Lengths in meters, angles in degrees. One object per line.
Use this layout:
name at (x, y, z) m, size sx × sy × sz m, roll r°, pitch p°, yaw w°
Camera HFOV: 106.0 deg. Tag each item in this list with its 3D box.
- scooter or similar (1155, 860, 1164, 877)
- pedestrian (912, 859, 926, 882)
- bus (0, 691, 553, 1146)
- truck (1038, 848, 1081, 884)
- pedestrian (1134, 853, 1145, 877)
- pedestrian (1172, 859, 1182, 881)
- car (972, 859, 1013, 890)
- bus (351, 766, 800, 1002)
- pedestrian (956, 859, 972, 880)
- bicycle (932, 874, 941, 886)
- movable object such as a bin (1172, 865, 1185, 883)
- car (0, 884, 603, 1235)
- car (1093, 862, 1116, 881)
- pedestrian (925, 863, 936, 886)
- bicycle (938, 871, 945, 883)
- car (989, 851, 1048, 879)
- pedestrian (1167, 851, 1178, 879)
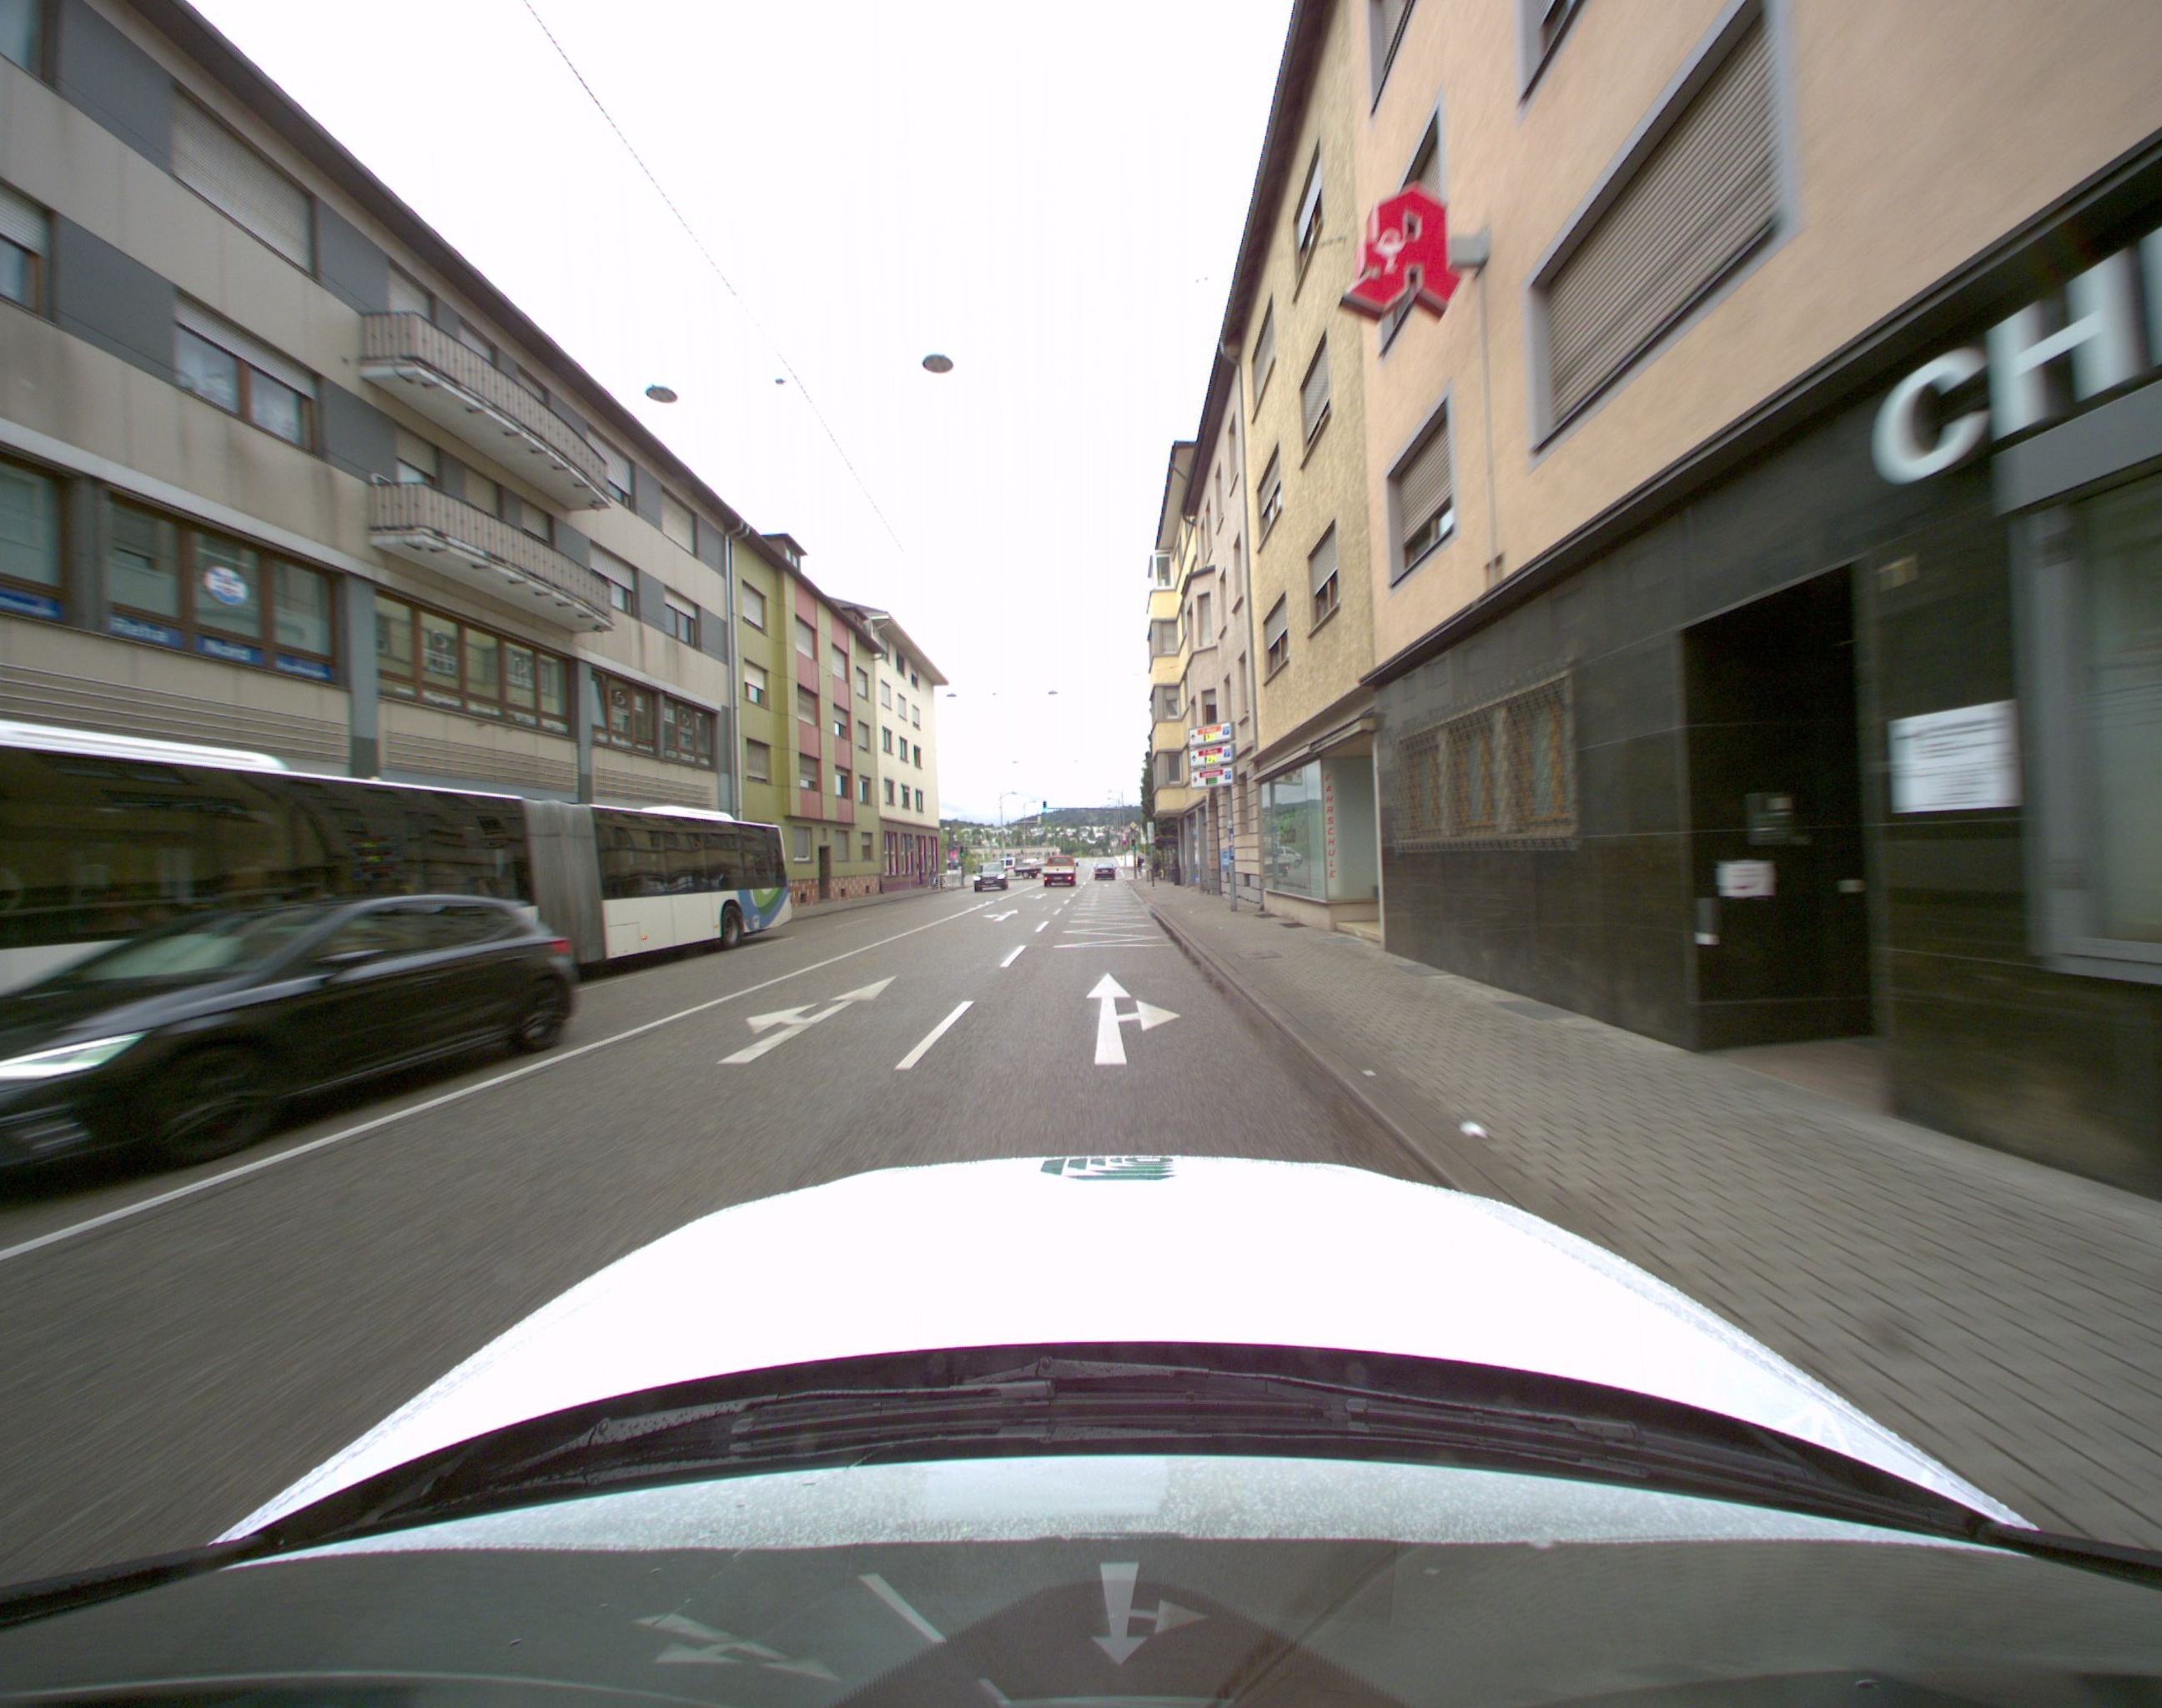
scooter or similar at (5.393, 0.987, 55.902) m, size 0.509 × 1.172 × 1.549 m, roll -2°, pitch -1°, yaw 2°
pedestrian at (-11.371, 1.152, 57.222) m, size 0.771 × 1.577 × 0.589 m, roll -2°, pitch -1°, yaw 1°
bus at (-8.928, 0.510, 6.936) m, size 2.748 × 3.188 × 8.914 m, roll -2°, pitch -1°, yaw 1°
truck at (-1.324, 0.772, 52.462) m, size 2.391 × 2.129 × 5.316 m, roll -2°, pitch -1°, yaw 1°
pedestrian at (4.527, 0.851, 63.319) m, size 0.730 × 1.841 × 0.631 m, roll -2°, pitch -1°, yaw 0°
pedestrian at (6.145, 1.016, 52.184) m, size 0.562 × 1.396 × 0.514 m, roll -2°, pitch -1°, yaw -2°
car at (-5.333, 1.212, 49.597) m, size 1.925 × 1.757 × 4.572 m, roll -2°, pitch -1°, yaw 0°
bus at (-8.680, 0.459, 16.027) m, size 2.715 × 3.188 × 9.295 m, roll -2°, pitch -1°, yaw 1°
pedestrian at (-11.759, 1.533, 82.091) m, size 0.973 × 2.014 × 1.181 m, roll -3°, pitch -1°, yaw 38°
bicycle at (-9.839, 1.750, 55.451) m, size 0.263 × 0.783 × 1.422 m, roll -2°, pitch -1°, yaw 2°
movable object such as a bin at (5.136, 1.033, 43.036) m, size 0.598 × 0.926 × 0.705 m, roll -2°, pitch -1°, yaw 1°
car at (-5.447, 1.025, 5.691) m, size 1.703 × 1.451 × 4.086 m, roll -2°, pitch -1°, yaw 1°
car at (1.958, 1.422, 66.843) m, size 1.747 × 1.479 × 4.001 m, roll -2°, pitch -1°, yaw 2°
pedestrian at (-10.529, 1.413, 57.066) m, size 0.573 × 1.553 × 0.739 m, roll -2°, pitch -1°, yaw -1°
bicycle at (-9.519, 1.593, 55.621) m, size 0.263 × 0.783 × 1.111 m, roll -2°, pitch -1°, yaw 2°
car at (-5.786, 1.014, 74.946) m, size 4.947 × 2.350 × 2.012 m, roll -3°, pitch -1°, yaw 25°
pedestrian at (5.729, 0.704, 51.048) m, size 0.616 × 1.699 × 0.657 m, roll -2°, pitch -1°, yaw 5°
